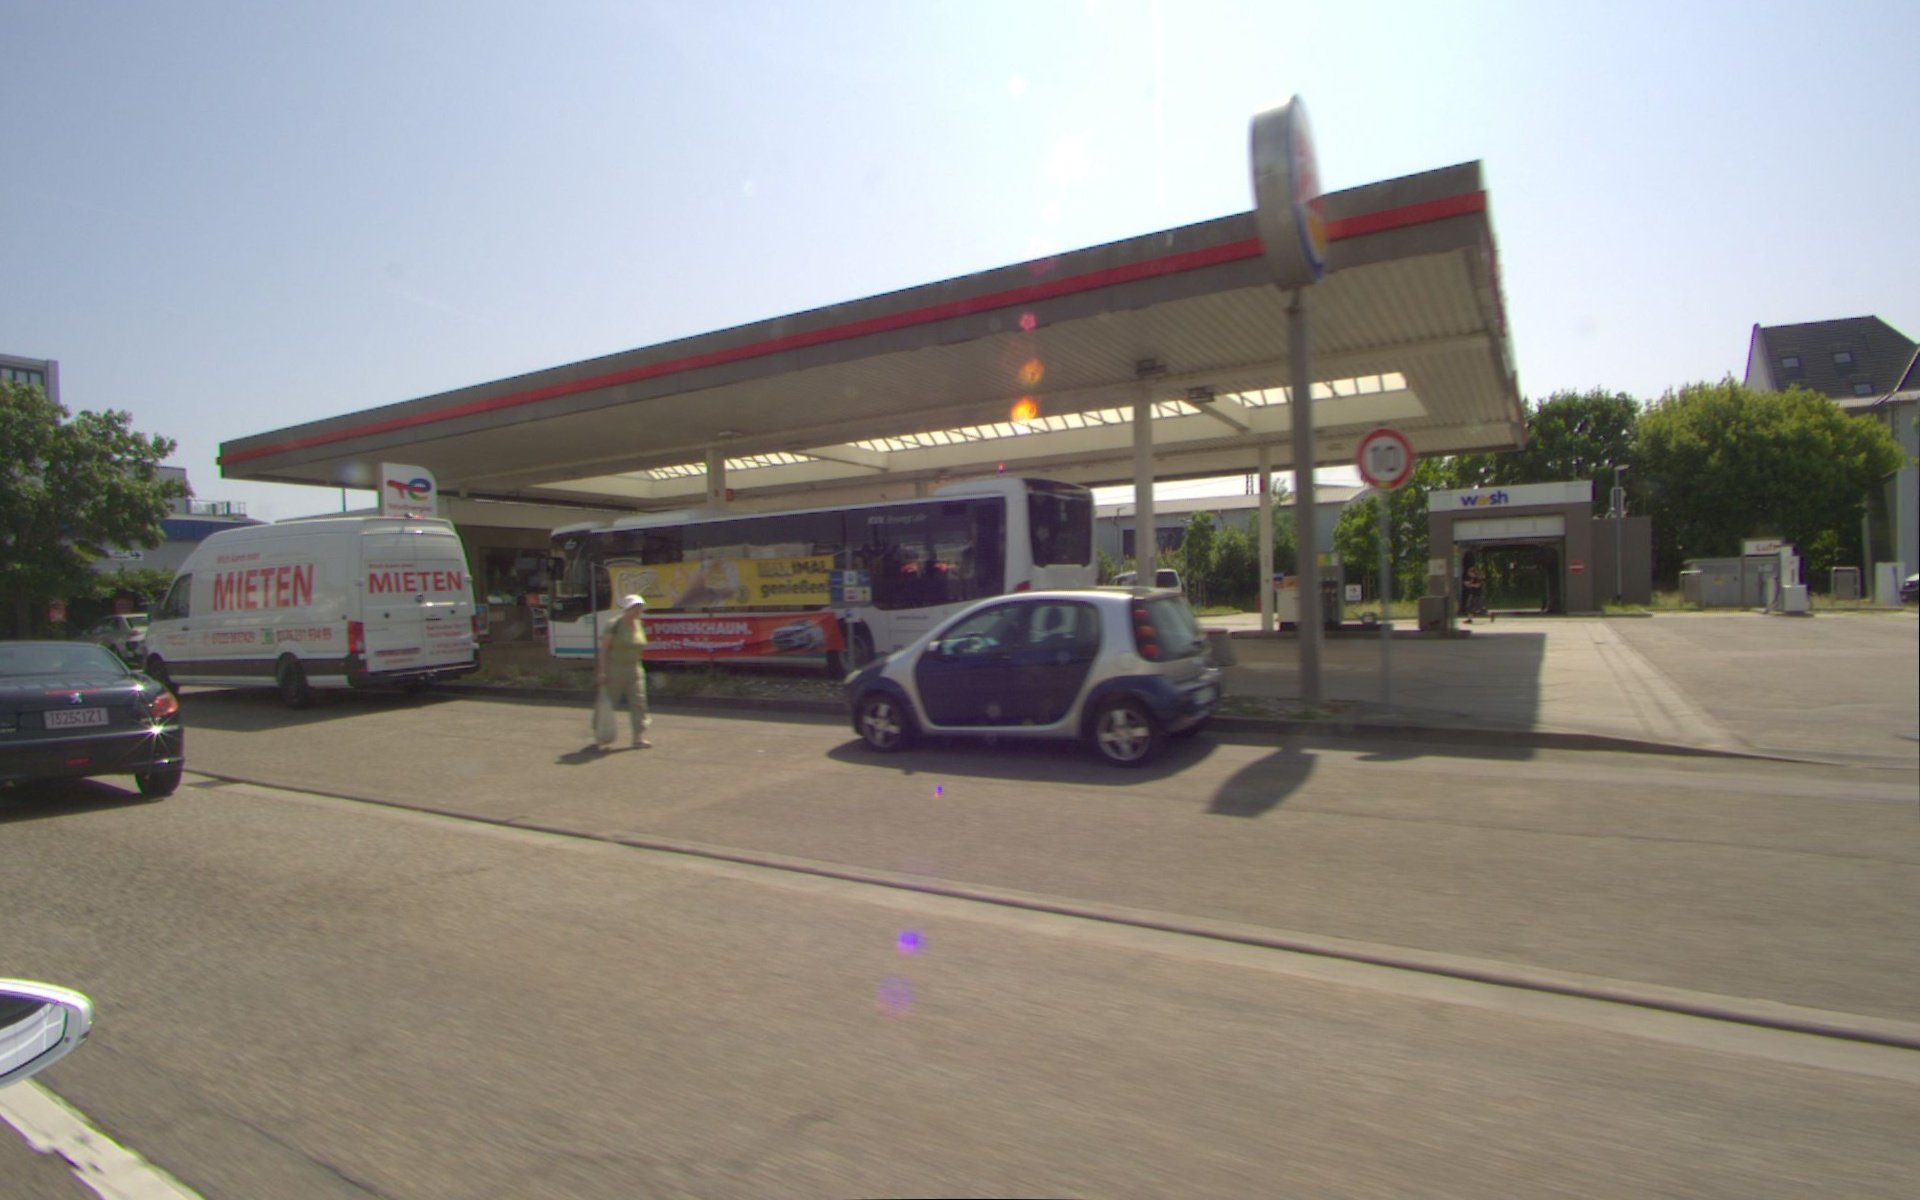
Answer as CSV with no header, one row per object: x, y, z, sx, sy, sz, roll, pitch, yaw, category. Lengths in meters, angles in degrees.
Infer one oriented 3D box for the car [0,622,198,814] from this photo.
-8.532,0.929,8.979,3.610,1.443,1.596,-1,-1,33,car

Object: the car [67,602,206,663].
-23.123,0.934,28.104,3.942,1.530,1.747,-3,-2,30,car

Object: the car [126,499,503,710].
-10.751,0.063,16.411,7.203,2.879,2.127,-1,3,31,car

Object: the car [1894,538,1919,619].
35.370,-0.875,32.823,6.564,2.729,1.990,-3,-2,32,car

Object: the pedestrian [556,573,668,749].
-3.690,0.631,10.647,0.693,1.771,0.813,-2,0,31,pedestrian

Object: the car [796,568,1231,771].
0.460,0.554,9.536,3.764,1.540,1.653,-1,4,31,car

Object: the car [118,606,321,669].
-19.394,0.954,26.364,1.725,1.530,3.971,-3,-2,38,car

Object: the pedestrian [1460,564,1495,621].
15.745,-0.206,30.476,0.864,1.674,0.766,-3,-1,28,pedestrian

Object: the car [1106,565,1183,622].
6.852,-0.178,37.584,1.896,1.909,4.002,-2,-2,-3,car

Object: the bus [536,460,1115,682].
-3.192,-0.417,18.774,12.117,3.120,2.796,0,1,35,bus
